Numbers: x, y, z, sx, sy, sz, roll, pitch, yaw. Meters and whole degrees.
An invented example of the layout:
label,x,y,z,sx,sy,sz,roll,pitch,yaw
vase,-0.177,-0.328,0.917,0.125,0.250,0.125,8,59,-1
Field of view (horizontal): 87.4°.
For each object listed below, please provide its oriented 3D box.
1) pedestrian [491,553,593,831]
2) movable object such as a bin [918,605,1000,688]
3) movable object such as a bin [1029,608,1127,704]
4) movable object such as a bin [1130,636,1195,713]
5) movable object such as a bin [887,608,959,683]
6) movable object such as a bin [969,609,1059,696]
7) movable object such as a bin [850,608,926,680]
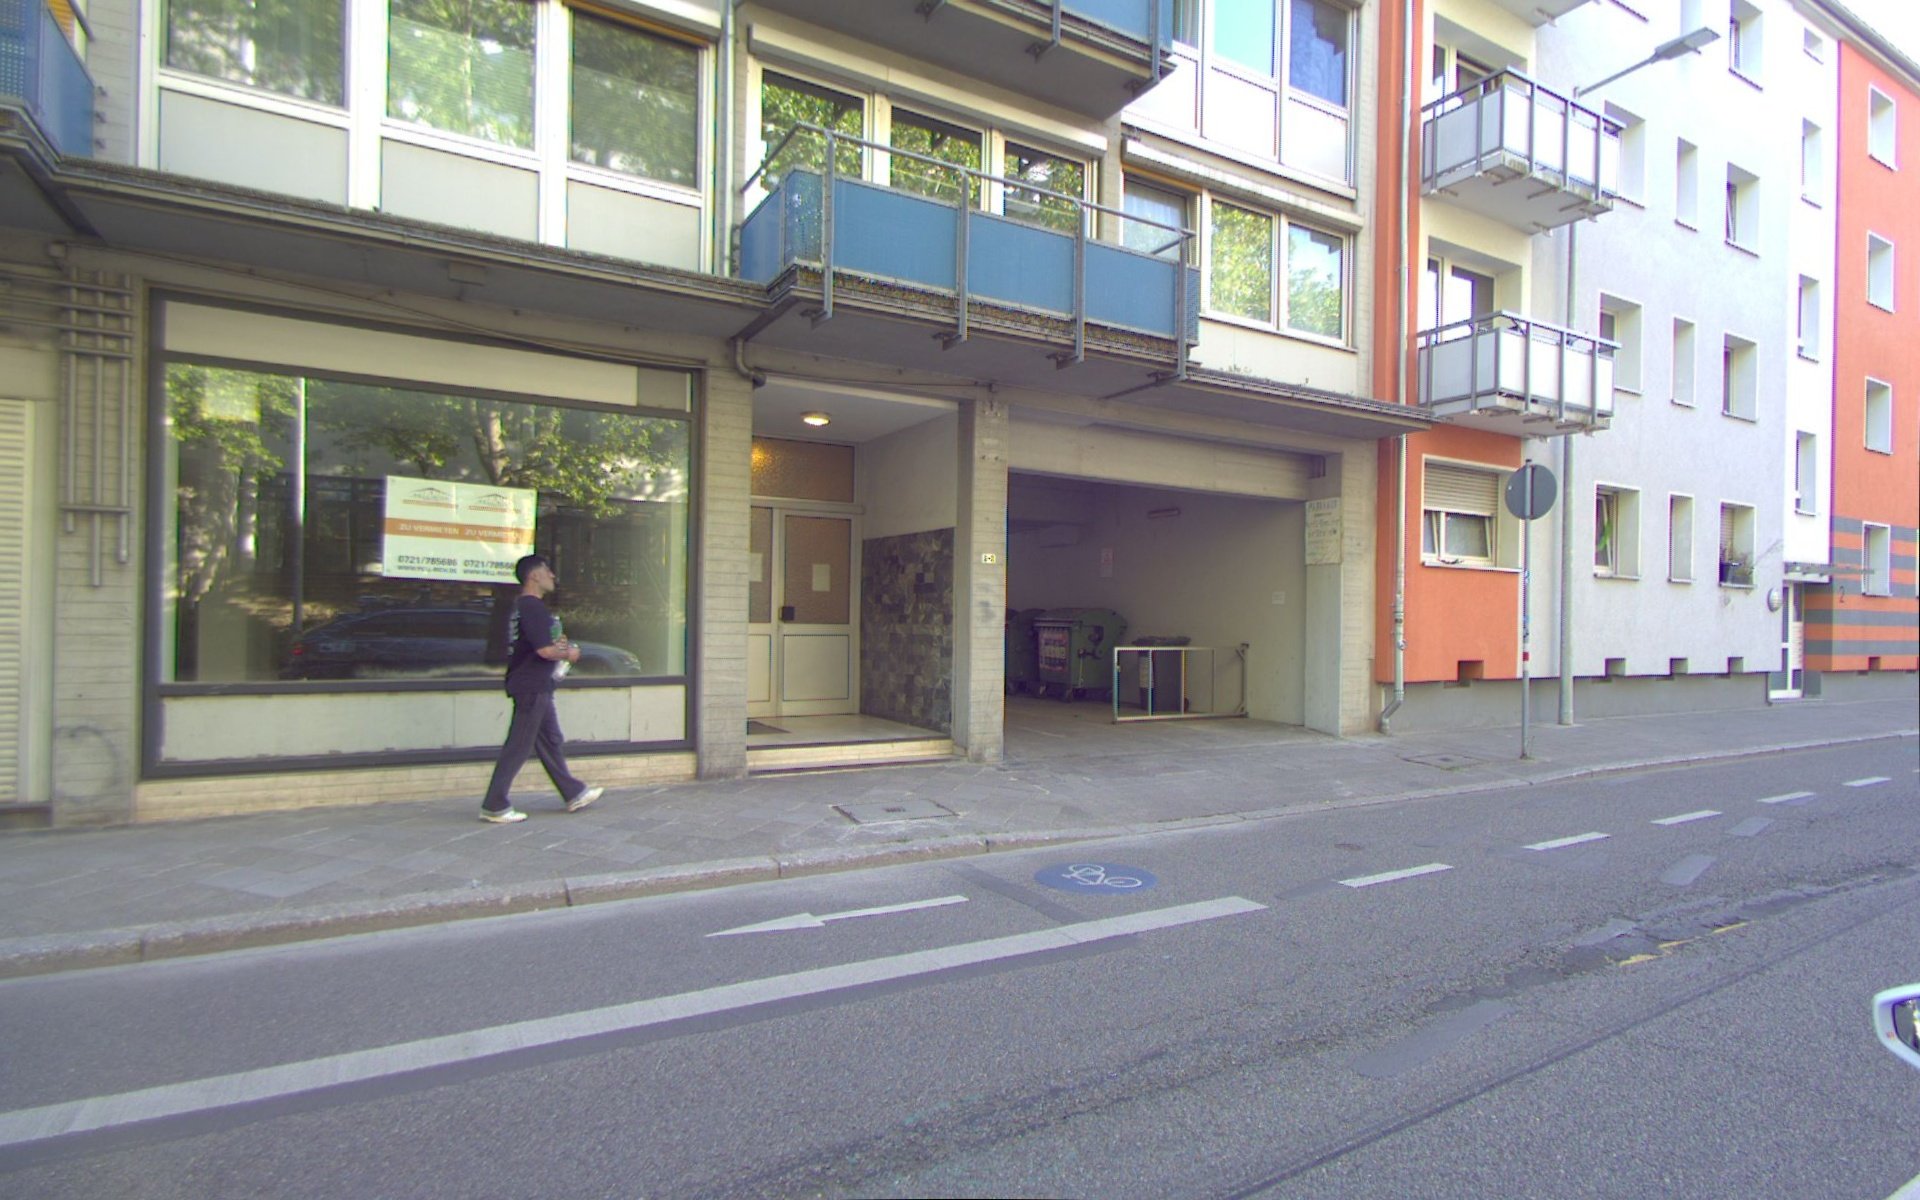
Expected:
label,x,y,z,sx,sy,sz,roll,pitch,yaw
pedestrian,-2.823,0.588,6.772,0.522,1.764,0.625,1,0,-32
movable object such as a bin,-0.031,0.841,18.672,1.011,1.462,1.318,1,0,-29
movable object such as a bin,1.835,0.855,15.835,1.009,1.438,1.321,1,0,-23
movable object such as a bin,2.912,1.061,14.484,0.704,1.054,0.583,1,0,-30
movable object such as a bin,-0.730,0.866,19.688,1.012,1.409,1.046,1,0,-31
movable object such as a bin,0.902,0.871,17.152,1.010,1.409,1.319,1,0,-27
movable object such as a bin,-1.488,0.877,20.665,1.014,1.409,1.264,1,0,-37
